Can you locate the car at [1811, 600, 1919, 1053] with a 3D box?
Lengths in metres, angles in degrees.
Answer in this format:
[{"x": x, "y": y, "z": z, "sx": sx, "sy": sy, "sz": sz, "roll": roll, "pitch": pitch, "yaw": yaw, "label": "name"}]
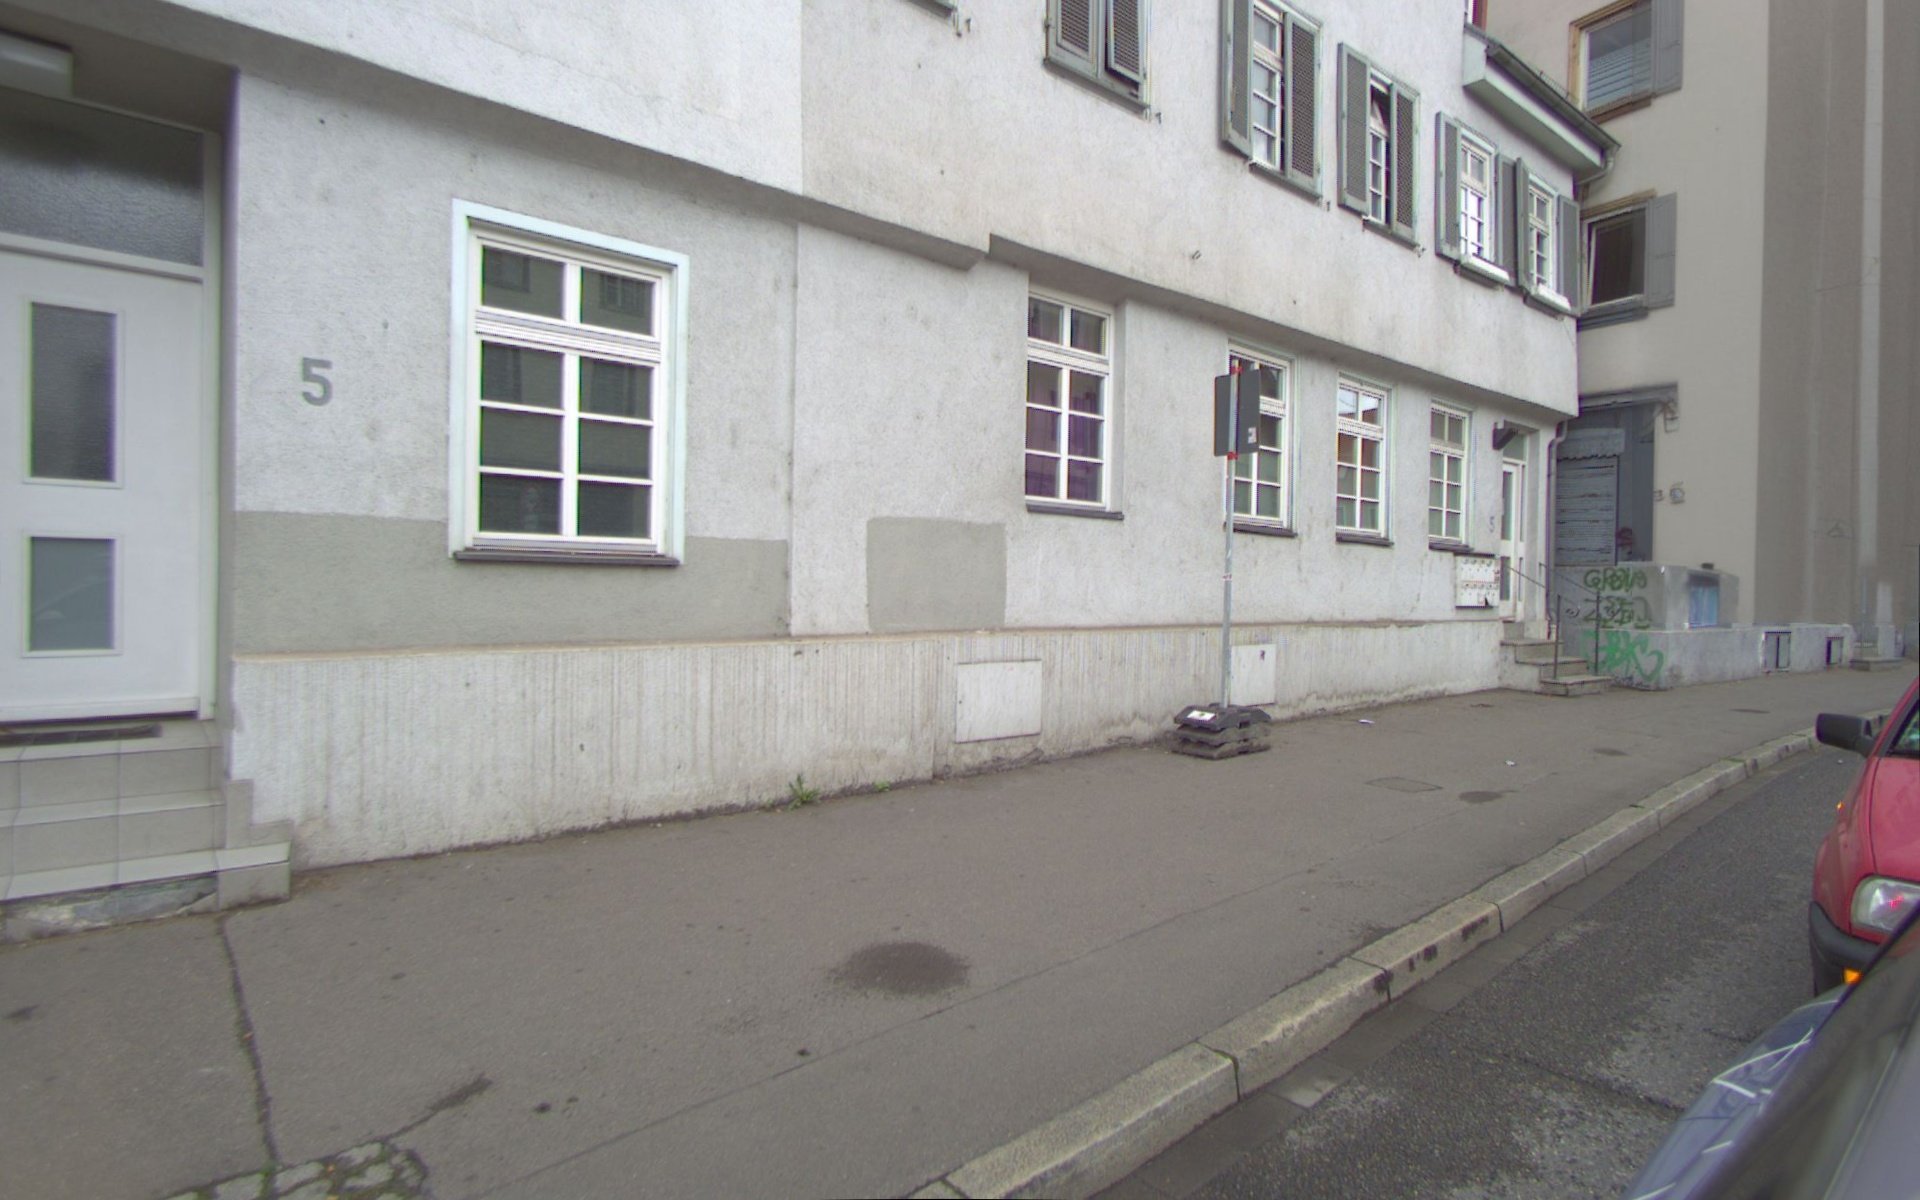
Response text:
[{"x": 5.053, "y": 0.739, "z": 4.122, "sx": 3.930, "sy": 1.485, "sz": 1.802, "roll": 0, "pitch": -2, "yaw": -41, "label": "car"}]
